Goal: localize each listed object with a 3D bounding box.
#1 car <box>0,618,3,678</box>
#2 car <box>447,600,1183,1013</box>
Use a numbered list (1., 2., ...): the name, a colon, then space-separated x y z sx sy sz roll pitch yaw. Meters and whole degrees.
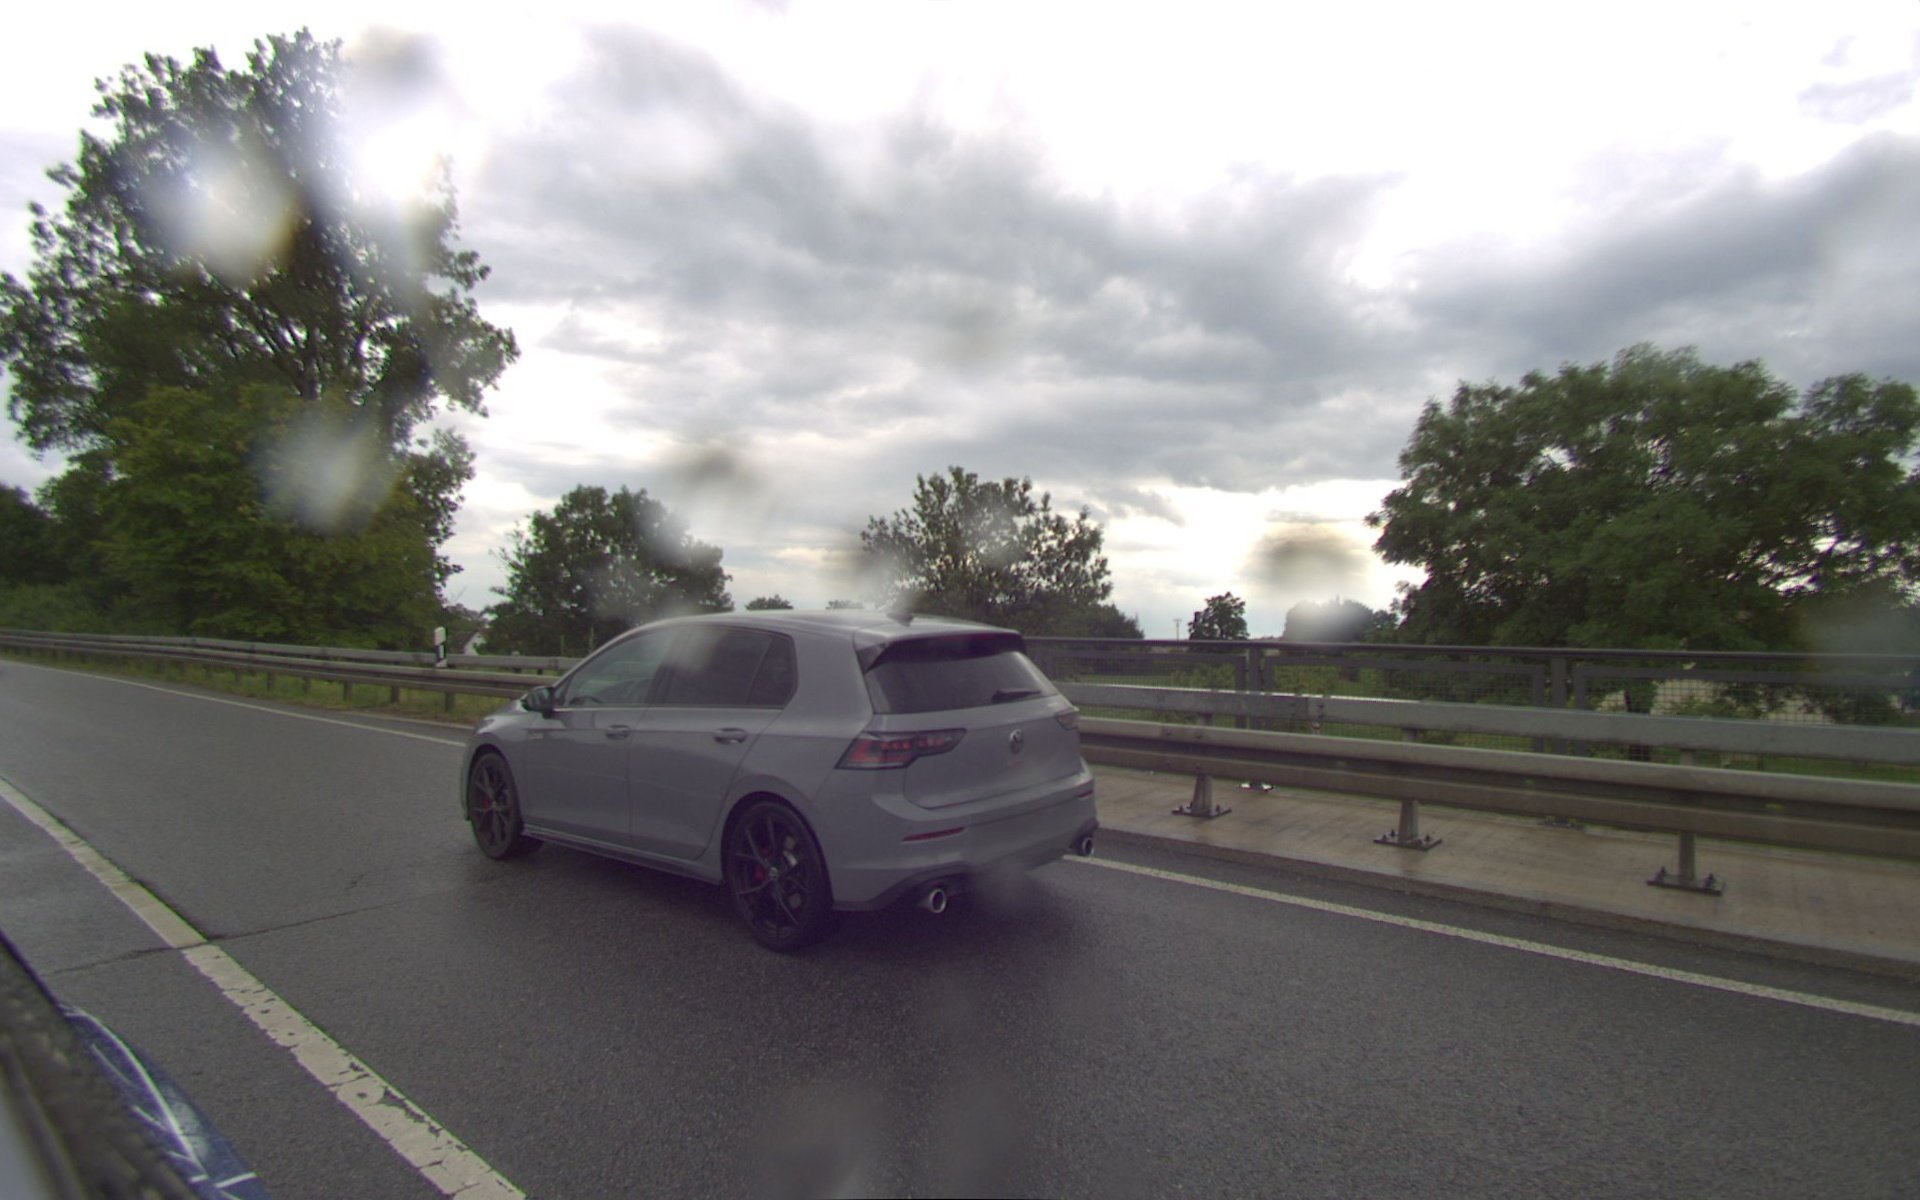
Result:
1. car: -26.631 1.277 26.384 4.017 1.553 1.881 -2 -1 38
2. car: -1.049 0.770 5.630 4.101 1.454 1.816 -1 -1 41
